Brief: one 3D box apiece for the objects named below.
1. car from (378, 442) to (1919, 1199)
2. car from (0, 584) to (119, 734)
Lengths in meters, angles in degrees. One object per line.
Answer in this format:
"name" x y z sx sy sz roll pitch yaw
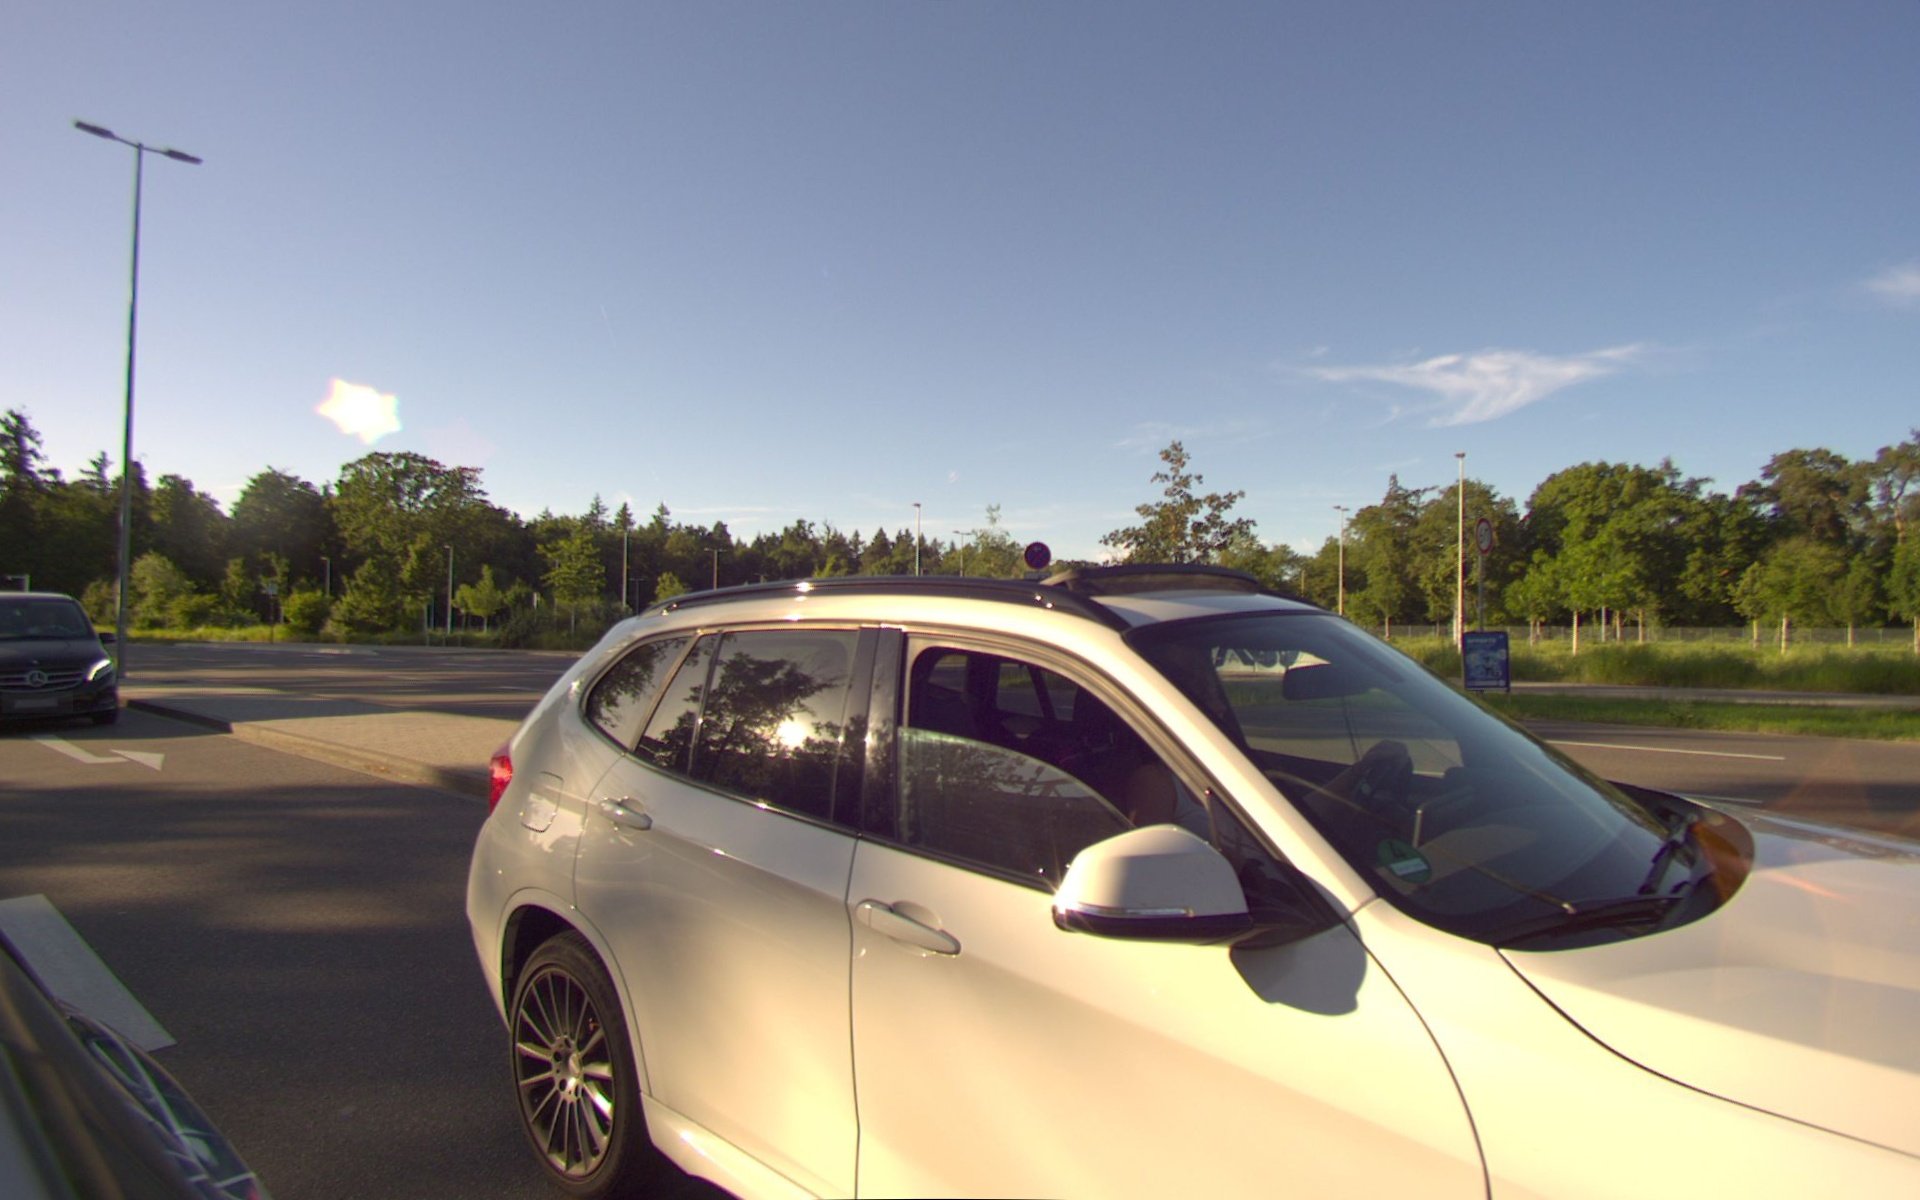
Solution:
"car" 0.474 0.659 2.220 4.432 1.592 1.701 0 1 41
"car" -13.706 0.741 14.435 4.871 1.870 1.887 0 0 41
